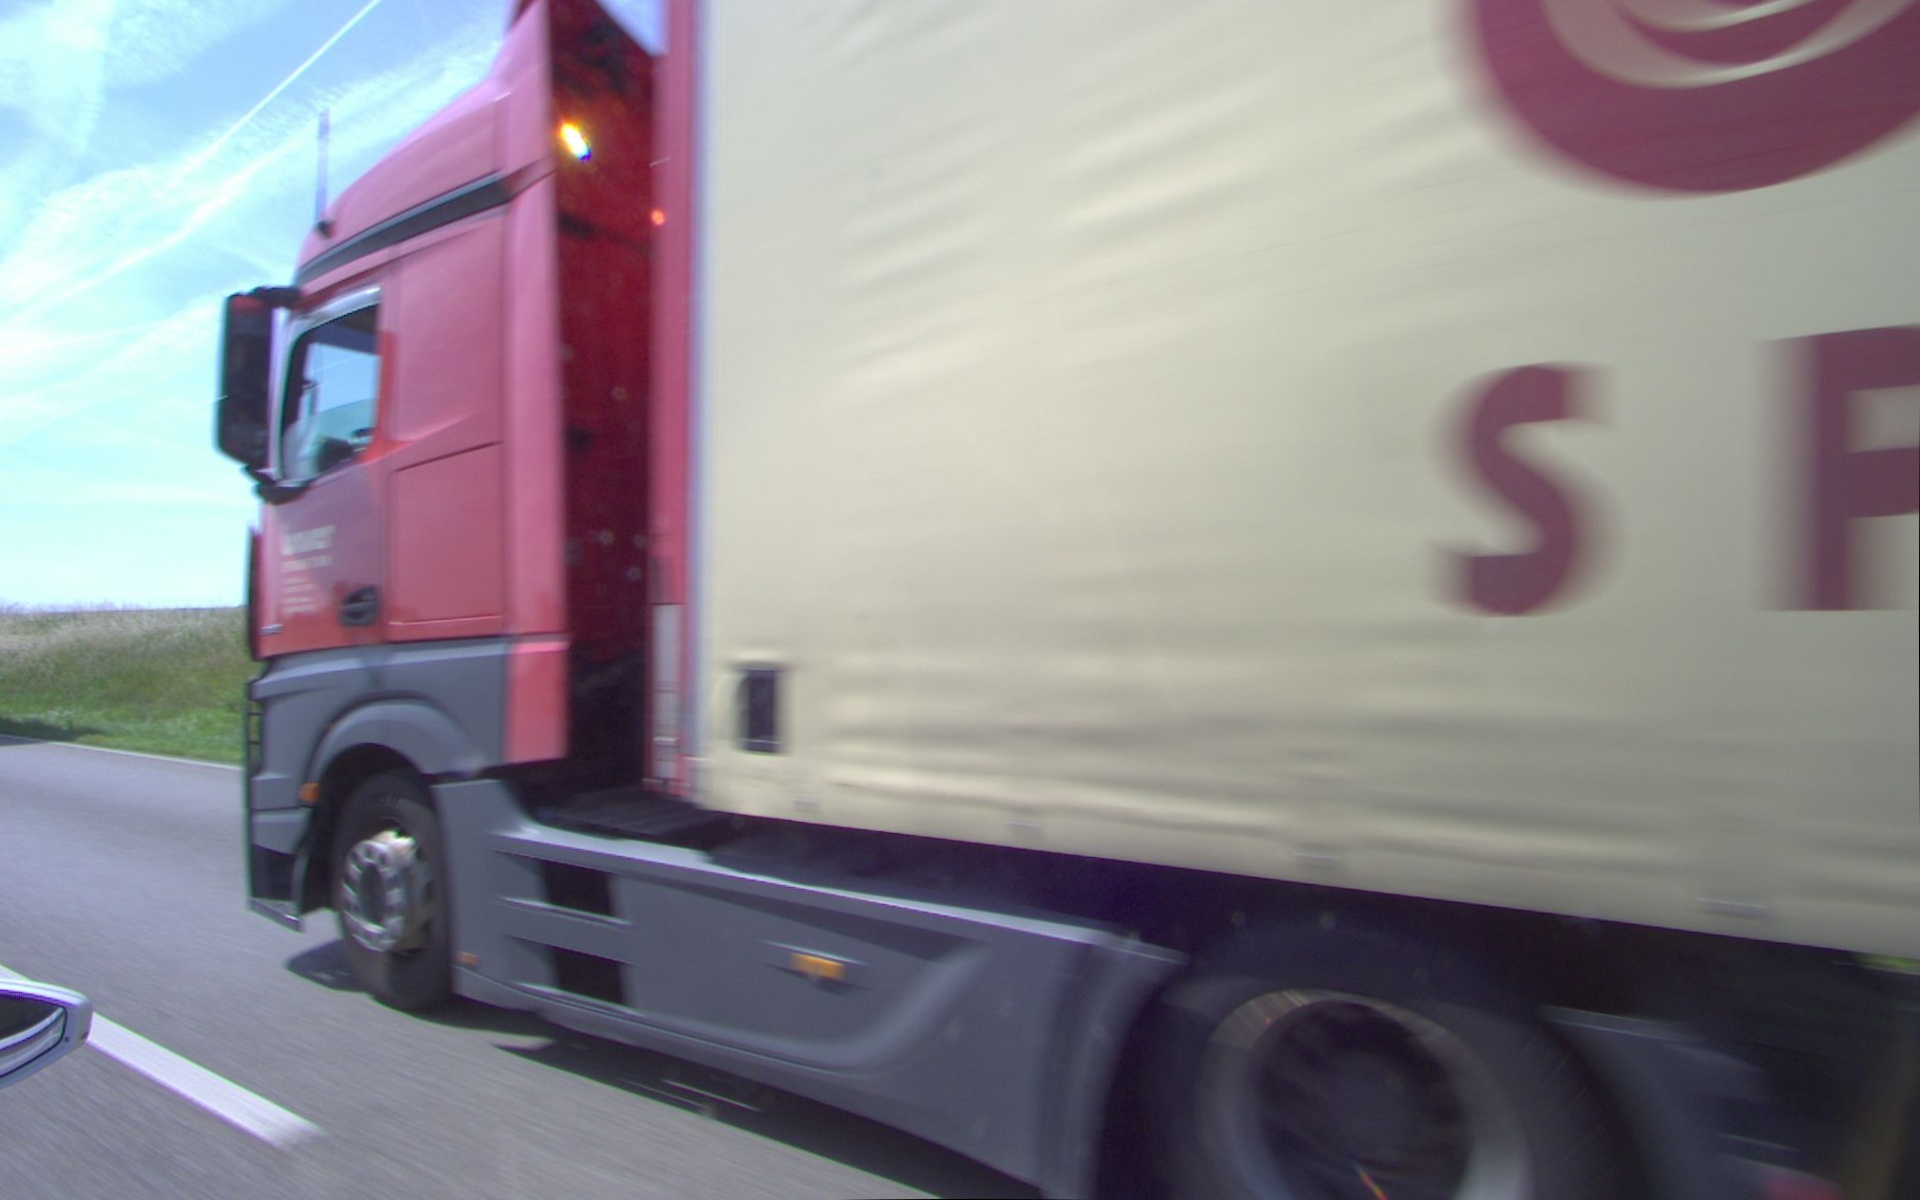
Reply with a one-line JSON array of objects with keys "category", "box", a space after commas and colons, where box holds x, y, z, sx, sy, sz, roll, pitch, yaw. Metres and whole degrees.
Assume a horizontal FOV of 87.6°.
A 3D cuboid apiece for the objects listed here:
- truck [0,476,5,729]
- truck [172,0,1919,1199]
[{"category": "truck", "box": [-22.313, 0.173, 18.447, 15.391, 3.960, 3.042, -2, -2, 32]}, {"category": "truck", "box": [4.144, -0.609, 1.552, 16.474, 4.233, 3.002, -1, -2, 32]}]
